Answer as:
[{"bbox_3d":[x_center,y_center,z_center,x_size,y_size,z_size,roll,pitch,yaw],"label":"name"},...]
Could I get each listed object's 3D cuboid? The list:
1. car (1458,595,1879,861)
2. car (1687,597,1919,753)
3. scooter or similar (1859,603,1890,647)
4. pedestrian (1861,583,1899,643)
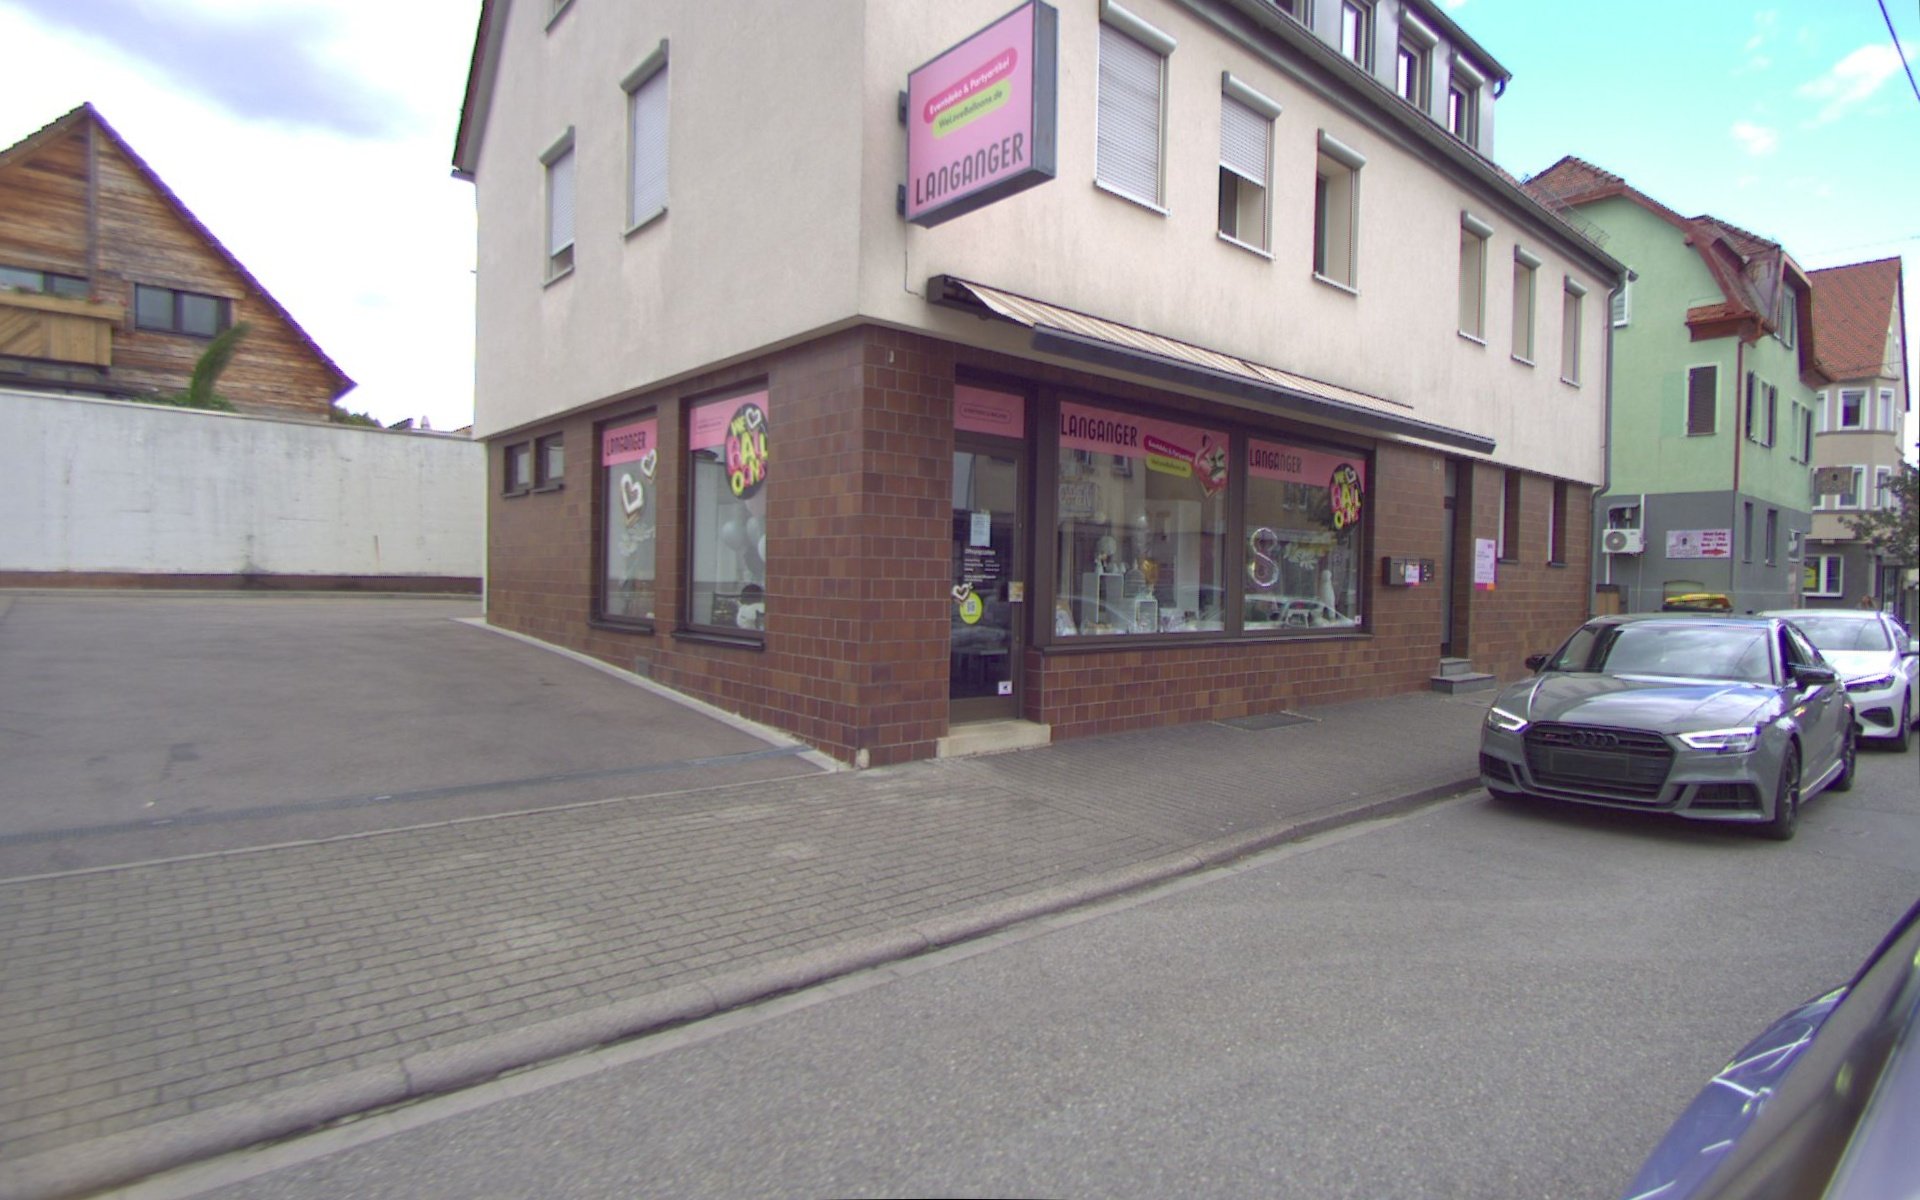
[{"bbox_3d":[5.510,0.704,7.663,4.040,1.464,1.833,0,0,-43],"label":"car"},{"bbox_3d":[10.072,0.708,11.673,4.256,1.464,1.834,0,0,-41],"label":"car"},{"bbox_3d":[26.643,0.707,29.483,0.876,1.248,0.590,0,0,-42],"label":"scooter or similar"},{"bbox_3d":[27.329,0.382,30.063,0.884,1.741,0.751,0,0,-41],"label":"pedestrian"}]
